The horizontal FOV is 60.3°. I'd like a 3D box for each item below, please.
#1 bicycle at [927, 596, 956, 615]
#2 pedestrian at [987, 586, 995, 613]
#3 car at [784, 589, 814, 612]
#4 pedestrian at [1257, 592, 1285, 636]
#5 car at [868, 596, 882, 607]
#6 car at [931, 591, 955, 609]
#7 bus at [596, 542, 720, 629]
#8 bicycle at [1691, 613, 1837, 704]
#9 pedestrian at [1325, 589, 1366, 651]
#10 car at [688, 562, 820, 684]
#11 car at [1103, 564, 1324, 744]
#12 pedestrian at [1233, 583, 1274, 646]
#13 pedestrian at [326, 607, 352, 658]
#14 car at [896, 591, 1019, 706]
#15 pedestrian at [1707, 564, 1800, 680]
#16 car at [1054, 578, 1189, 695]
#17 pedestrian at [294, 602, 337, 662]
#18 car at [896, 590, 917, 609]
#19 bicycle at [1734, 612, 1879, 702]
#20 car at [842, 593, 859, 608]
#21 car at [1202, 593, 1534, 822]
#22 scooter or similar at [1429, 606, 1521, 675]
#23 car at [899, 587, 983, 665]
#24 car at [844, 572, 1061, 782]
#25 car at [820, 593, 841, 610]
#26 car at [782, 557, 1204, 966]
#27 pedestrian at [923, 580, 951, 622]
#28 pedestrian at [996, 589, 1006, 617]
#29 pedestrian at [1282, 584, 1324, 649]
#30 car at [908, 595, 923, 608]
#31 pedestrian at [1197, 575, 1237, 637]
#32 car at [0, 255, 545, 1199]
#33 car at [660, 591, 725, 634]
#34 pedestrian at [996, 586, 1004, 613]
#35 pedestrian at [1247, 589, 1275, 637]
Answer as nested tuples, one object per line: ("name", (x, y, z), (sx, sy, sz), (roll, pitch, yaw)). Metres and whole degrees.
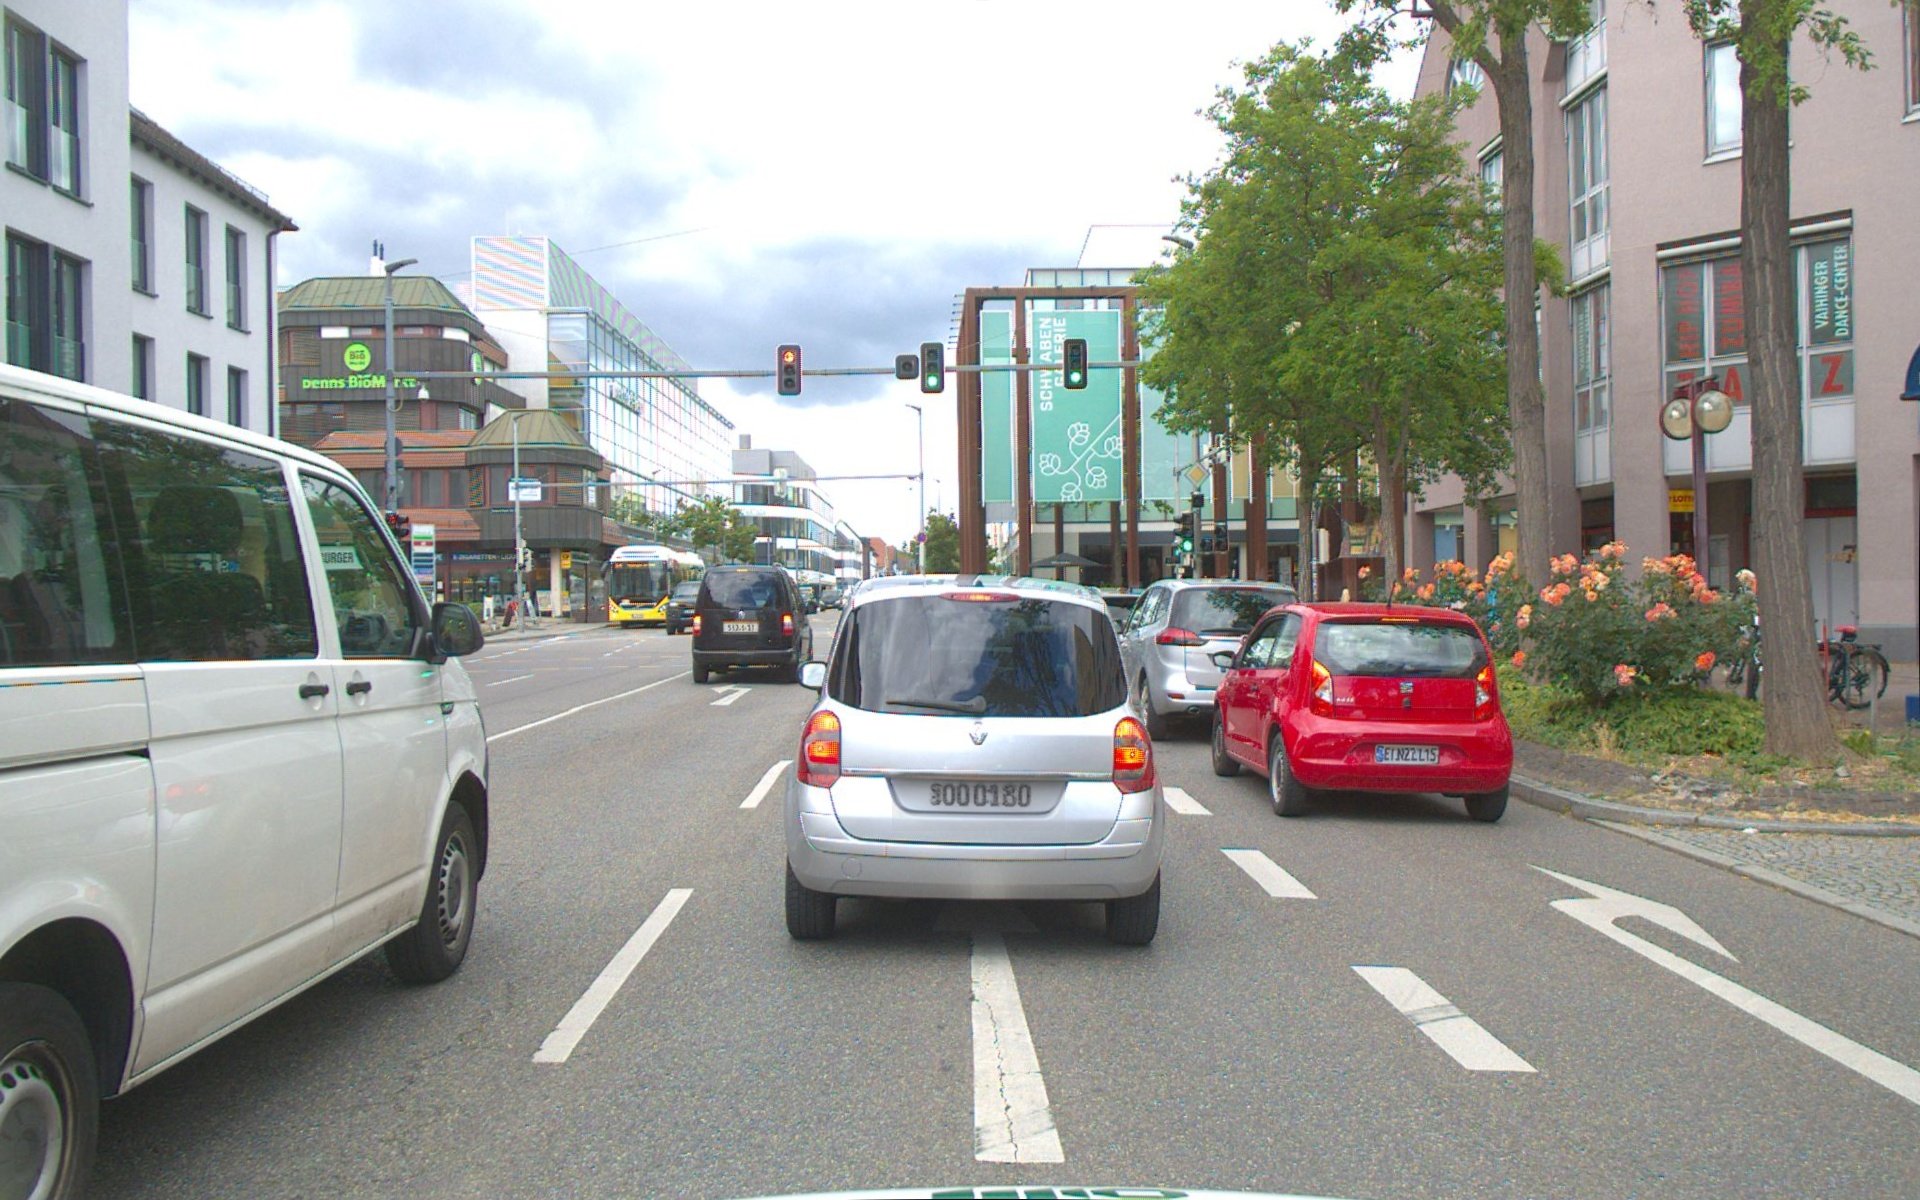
("bicycle", (-0.975, 0.286, 88.058), (1.528, 1.010, 0.752), (-1, 0, 2))
("pedestrian", (1.843, -0.049, 97.659), (0.418, 1.576, 0.481), (-1, 0, -3))
("car", (-10.826, 0.010, 111.258), (1.626, 1.491, 4.000), (-2, 0, -1))
("pedestrian", (11.452, 0.516, 60.985), (0.805, 1.623, 1.039), (0, 0, -1))
("car", (-11.345, 0.204, 220.314), (1.626, 1.491, 4.000), (-2, 0, -1))
("car", (-1.357, -0.031, 132.337), (1.839, 1.358, 4.000), (1, 0, 0))
("bus", (-13.199, -0.668, 73.515), (2.926, 3.385, 12.307), (-3, 1, 1))
("bicycle", (9.814, 0.694, 20.222), (1.541, 1.067, 0.404), (-1, 0, 41))
("pedestrian", (11.313, 0.573, 48.512), (0.861, 1.798, 1.119), (-1, 0, -4))
("car", (-3.388, 0.347, 27.908), (1.673, 1.852, 4.571), (1, 0, -1))
("car", (2.676, 0.519, 18.420), (1.704, 1.730, 4.380), (1, 0, -1))
("pedestrian", (8.242, 0.400, 46.474), (0.861, 1.711, 1.119), (-1, 0, -4))
("pedestrian", (-19.958, 1.051, 53.173), (0.625, 1.615, 0.526), (-1, 0, 0))
("car", (-0.062, 0.640, 24.174), (1.636, 1.521, 3.641), (1, 0, -1))
("pedestrian", (11.711, 0.308, 24.433), (0.792, 1.654, 1.093), (-1, 0, -3))
("car", (2.566, 0.542, 27.206), (1.704, 1.730, 4.380), (1, 0, -1))
("pedestrian", (-19.769, 0.974, 50.776), (0.928, 1.786, 0.945), (-1, 0, 0))
("car", (-4.420, -0.030, 137.890), (1.626, 1.491, 4.000), (-2, 0, -1))
("bicycle", (10.449, 0.694, 20.453), (1.541, 1.067, 0.404), (-1, 0, 41))
("car", (-11.678, 0.028, 176.670), (1.626, 1.491, 4.000), (-2, 0, -1))
("car", (2.972, 0.706, 12.770), (1.593, 1.473, 3.641), (1, 0, -1))
("scooter or similar", (8.675, 0.672, 27.941), (0.462, 1.106, 1.878), (-1, 0, -18))
("car", (-0.402, 0.502, 34.694), (1.636, 1.521, 3.641), (1, 0, -1))
("car", (-0.086, 0.579, 14.512), (1.636, 1.581, 3.641), (1, 0, -1))
("car", (-11.715, 0.121, 149.577), (1.626, 1.491, 4.000), (-2, 0, -1))
("car", (0.105, 0.629, 8.343), (1.636, 1.581, 3.641), (1, 0, -1))
("pedestrian", (-0.926, 0.048, 66.645), (0.854, 1.675, 0.678), (0, 0, 33))
("pedestrian", (1.833, 0.144, 74.427), (0.438, 1.241, 0.607), (-1, 0, 2))
("pedestrian", (9.712, 0.462, 46.838), (0.861, 1.798, 1.119), (-1, 0, -4))
("car", (-5.184, 0.201, 194.475), (1.626, 1.491, 4.000), (-2, 0, -1))
("pedestrian", (7.225, 0.172, 46.526), (0.861, 1.711, 1.119), (-1, 0, -4))
("car", (-2.736, 0.380, 4.661), (1.953, 2.049, 4.839), (1, 0, -1))
("car", (-9.685, 0.444, 60.159), (1.723, 1.474, 4.035), (-1, 0, -1))
("pedestrian", (2.348, -0.039, 97.767), (0.418, 1.576, 0.481), (-1, 0, -3))
("pedestrian", (10.571, 0.460, 58.186), (0.727, 1.654, 0.953), (-1, 0, -4))
